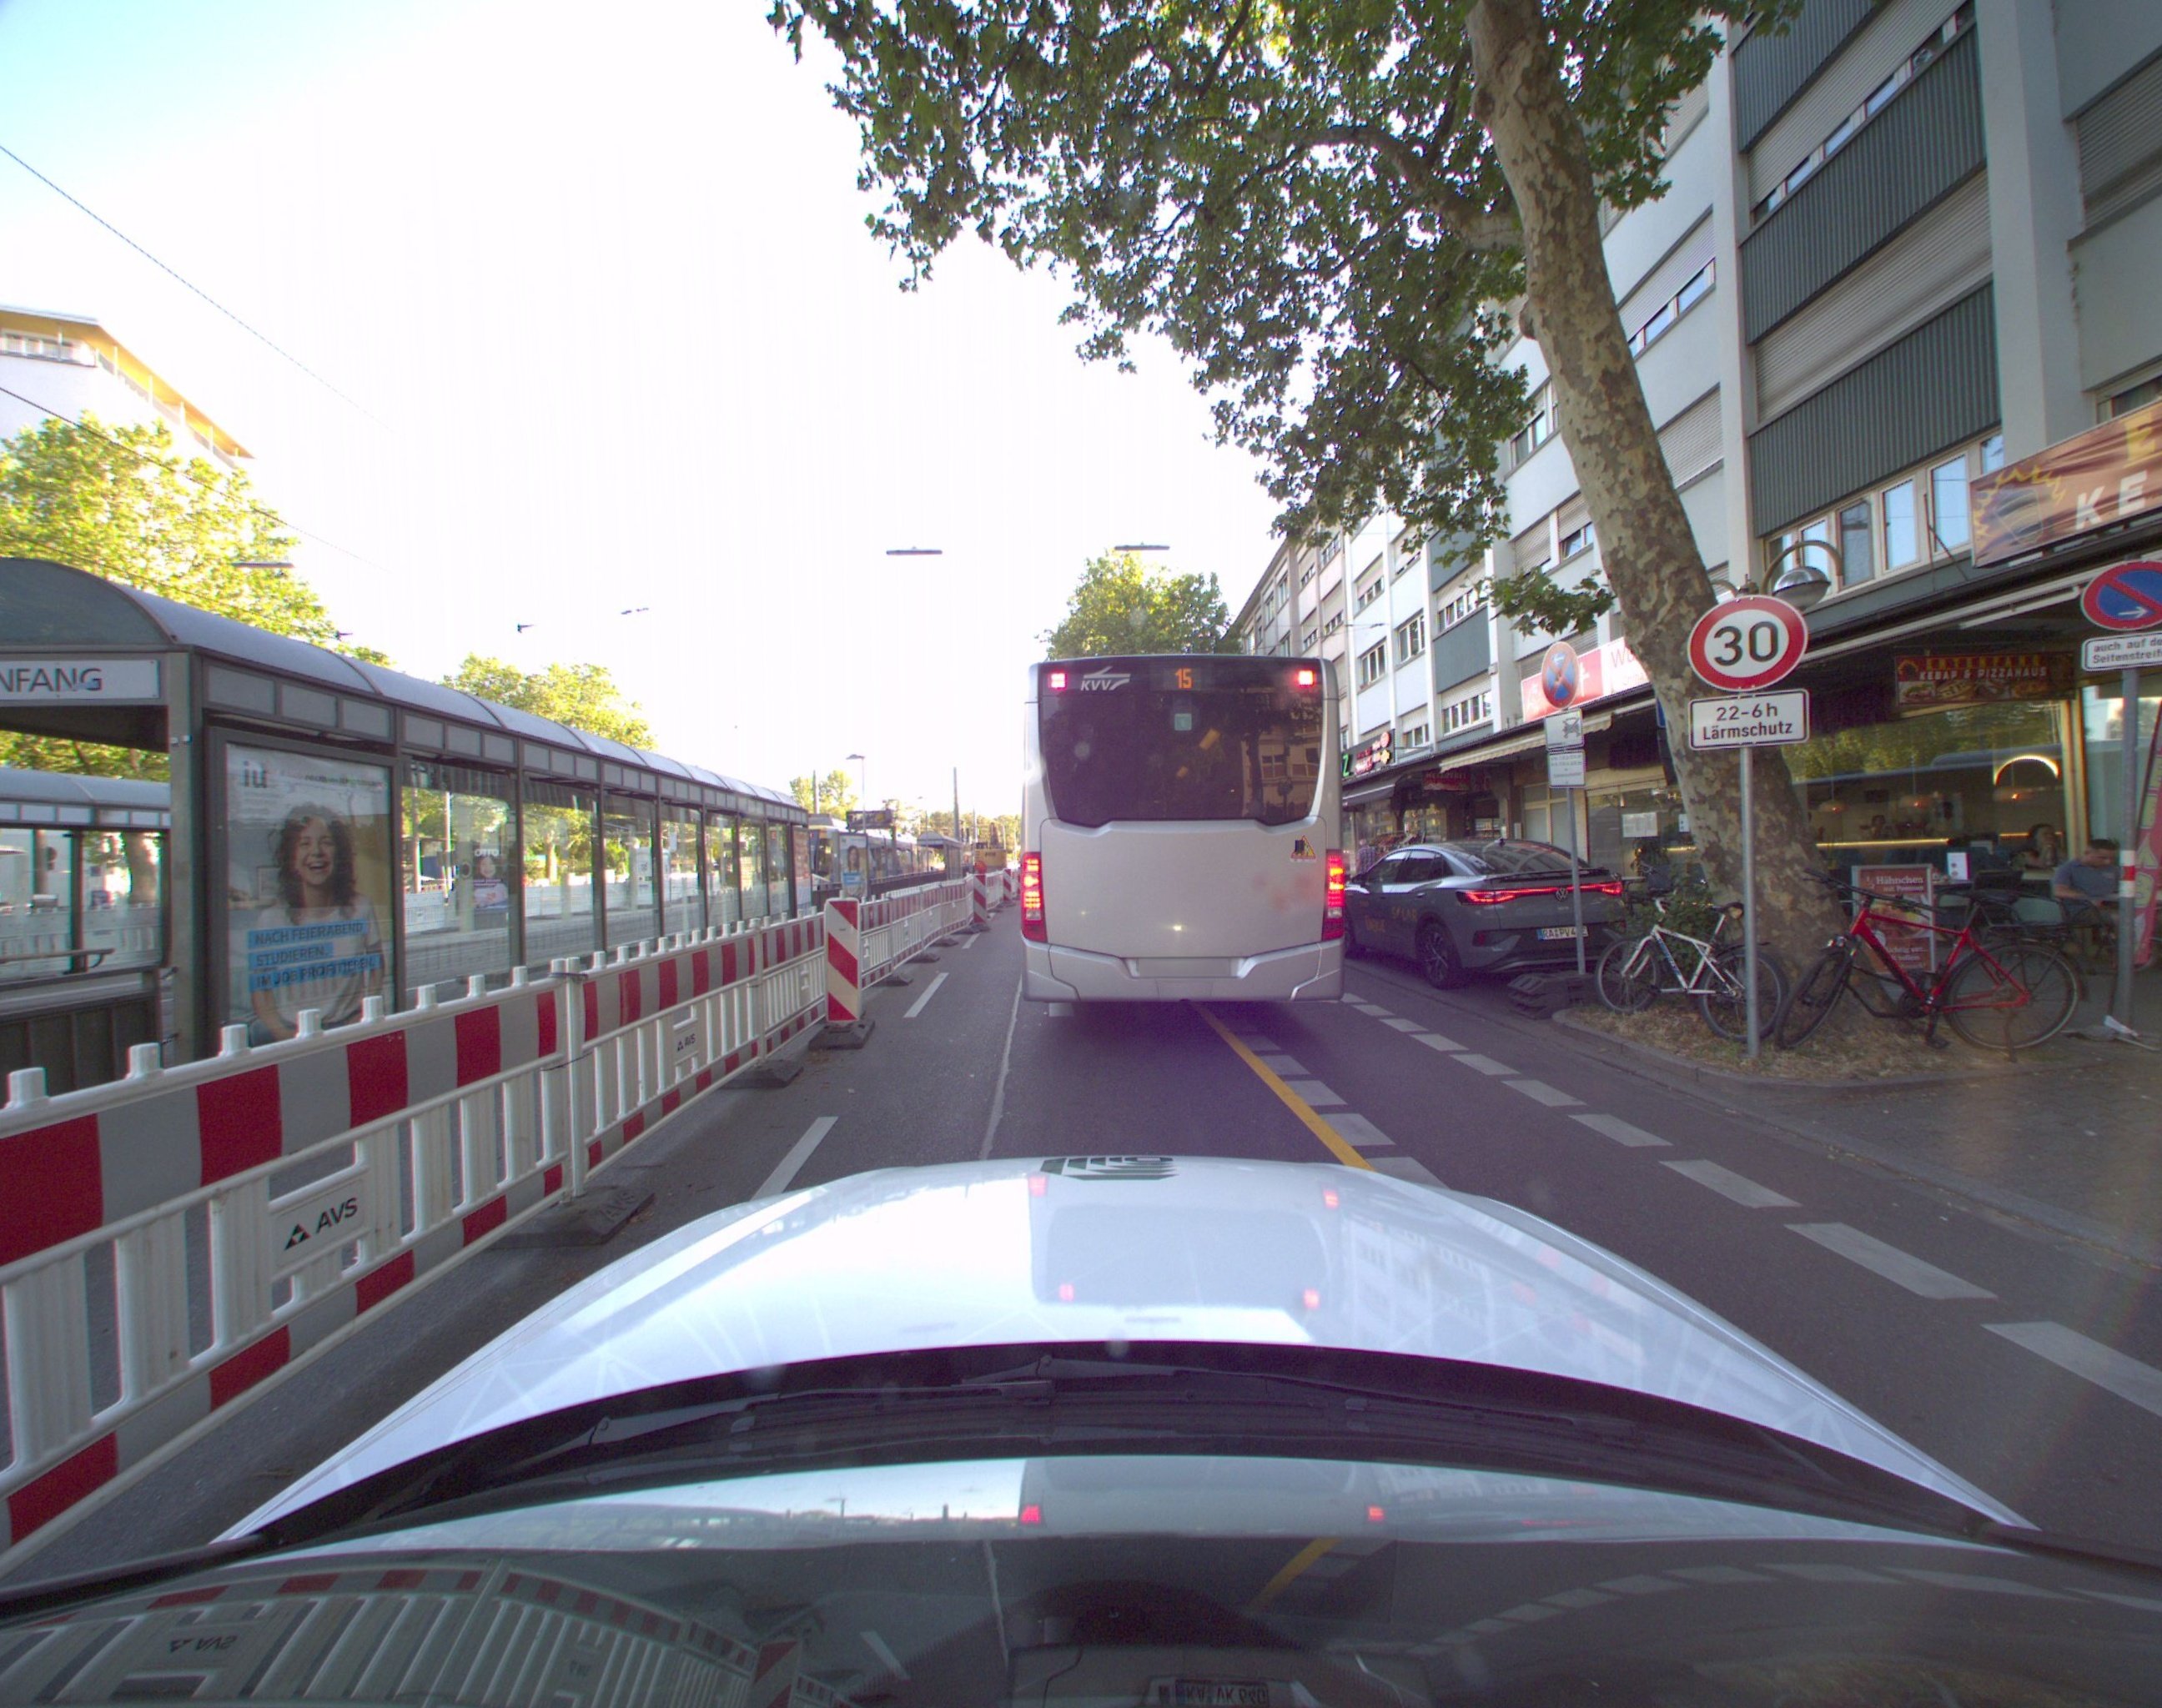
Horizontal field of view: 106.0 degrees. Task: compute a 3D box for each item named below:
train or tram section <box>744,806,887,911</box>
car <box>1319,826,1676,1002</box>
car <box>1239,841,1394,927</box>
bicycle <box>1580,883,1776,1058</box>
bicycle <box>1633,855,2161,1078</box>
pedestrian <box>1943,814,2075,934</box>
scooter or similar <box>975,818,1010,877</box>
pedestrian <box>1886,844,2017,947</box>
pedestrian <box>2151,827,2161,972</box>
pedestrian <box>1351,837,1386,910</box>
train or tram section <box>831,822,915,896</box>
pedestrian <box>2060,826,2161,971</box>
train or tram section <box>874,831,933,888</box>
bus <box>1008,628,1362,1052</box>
[{"bbox_3d":[-10.371,0.193,33.419,2.681,3.534,11.756,0,-1,-3],"label":"train or tram section"},{"bbox_3d":[4.734,0.580,10.168,1.989,1.582,4.364,-4,0,-3],"label":"car"},{"bbox_3d":[5.153,0.597,18.528,1.989,1.582,4.364,-4,0,-3],"label":"car"},{"bbox_3d":[4.573,0.836,6.360,0.550,1.155,1.446,-2,-1,6],"label":"bicycle"},{"bbox_3d":[5.058,0.723,5.219,2.370,1.155,0.557,-7,-2,14],"label":"bicycle"},{"bbox_3d":[11.029,0.228,9.686,0.836,1.333,0.963,-2,-1,-39],"label":"pedestrian"},{"bbox_3d":[-7.020,-0.489,65.126,2.465,4.471,5.961,-2,0,-5],"label":"scooter or similar"},{"bbox_3d":[9.856,0.452,9.233,0.643,1.081,0.945,-2,-1,-39],"label":"pedestrian"},{"bbox_3d":[9.534,0.379,6.670,0.556,1.245,0.691,-4,0,3],"label":"pedestrian"},{"bbox_3d":[6.835,0.464,19.403,0.658,1.666,0.603,-4,-1,18],"label":"pedestrian"},{"bbox_3d":[-11.220,0.304,45.071,2.682,3.558,11.559,0,-1,-5],"label":"train or tram section"},{"bbox_3d":[9.670,0.380,7.441,0.555,1.245,0.692,-4,0,8],"label":"pedestrian"},{"bbox_3d":[-12.112,0.404,56.578,2.683,3.533,11.558,0,-1,-6],"label":"train or tram section"},{"bbox_3d":[0.891,-0.081,10.016,2.601,3.126,7.996,0,0,2],"label":"bus"}]
